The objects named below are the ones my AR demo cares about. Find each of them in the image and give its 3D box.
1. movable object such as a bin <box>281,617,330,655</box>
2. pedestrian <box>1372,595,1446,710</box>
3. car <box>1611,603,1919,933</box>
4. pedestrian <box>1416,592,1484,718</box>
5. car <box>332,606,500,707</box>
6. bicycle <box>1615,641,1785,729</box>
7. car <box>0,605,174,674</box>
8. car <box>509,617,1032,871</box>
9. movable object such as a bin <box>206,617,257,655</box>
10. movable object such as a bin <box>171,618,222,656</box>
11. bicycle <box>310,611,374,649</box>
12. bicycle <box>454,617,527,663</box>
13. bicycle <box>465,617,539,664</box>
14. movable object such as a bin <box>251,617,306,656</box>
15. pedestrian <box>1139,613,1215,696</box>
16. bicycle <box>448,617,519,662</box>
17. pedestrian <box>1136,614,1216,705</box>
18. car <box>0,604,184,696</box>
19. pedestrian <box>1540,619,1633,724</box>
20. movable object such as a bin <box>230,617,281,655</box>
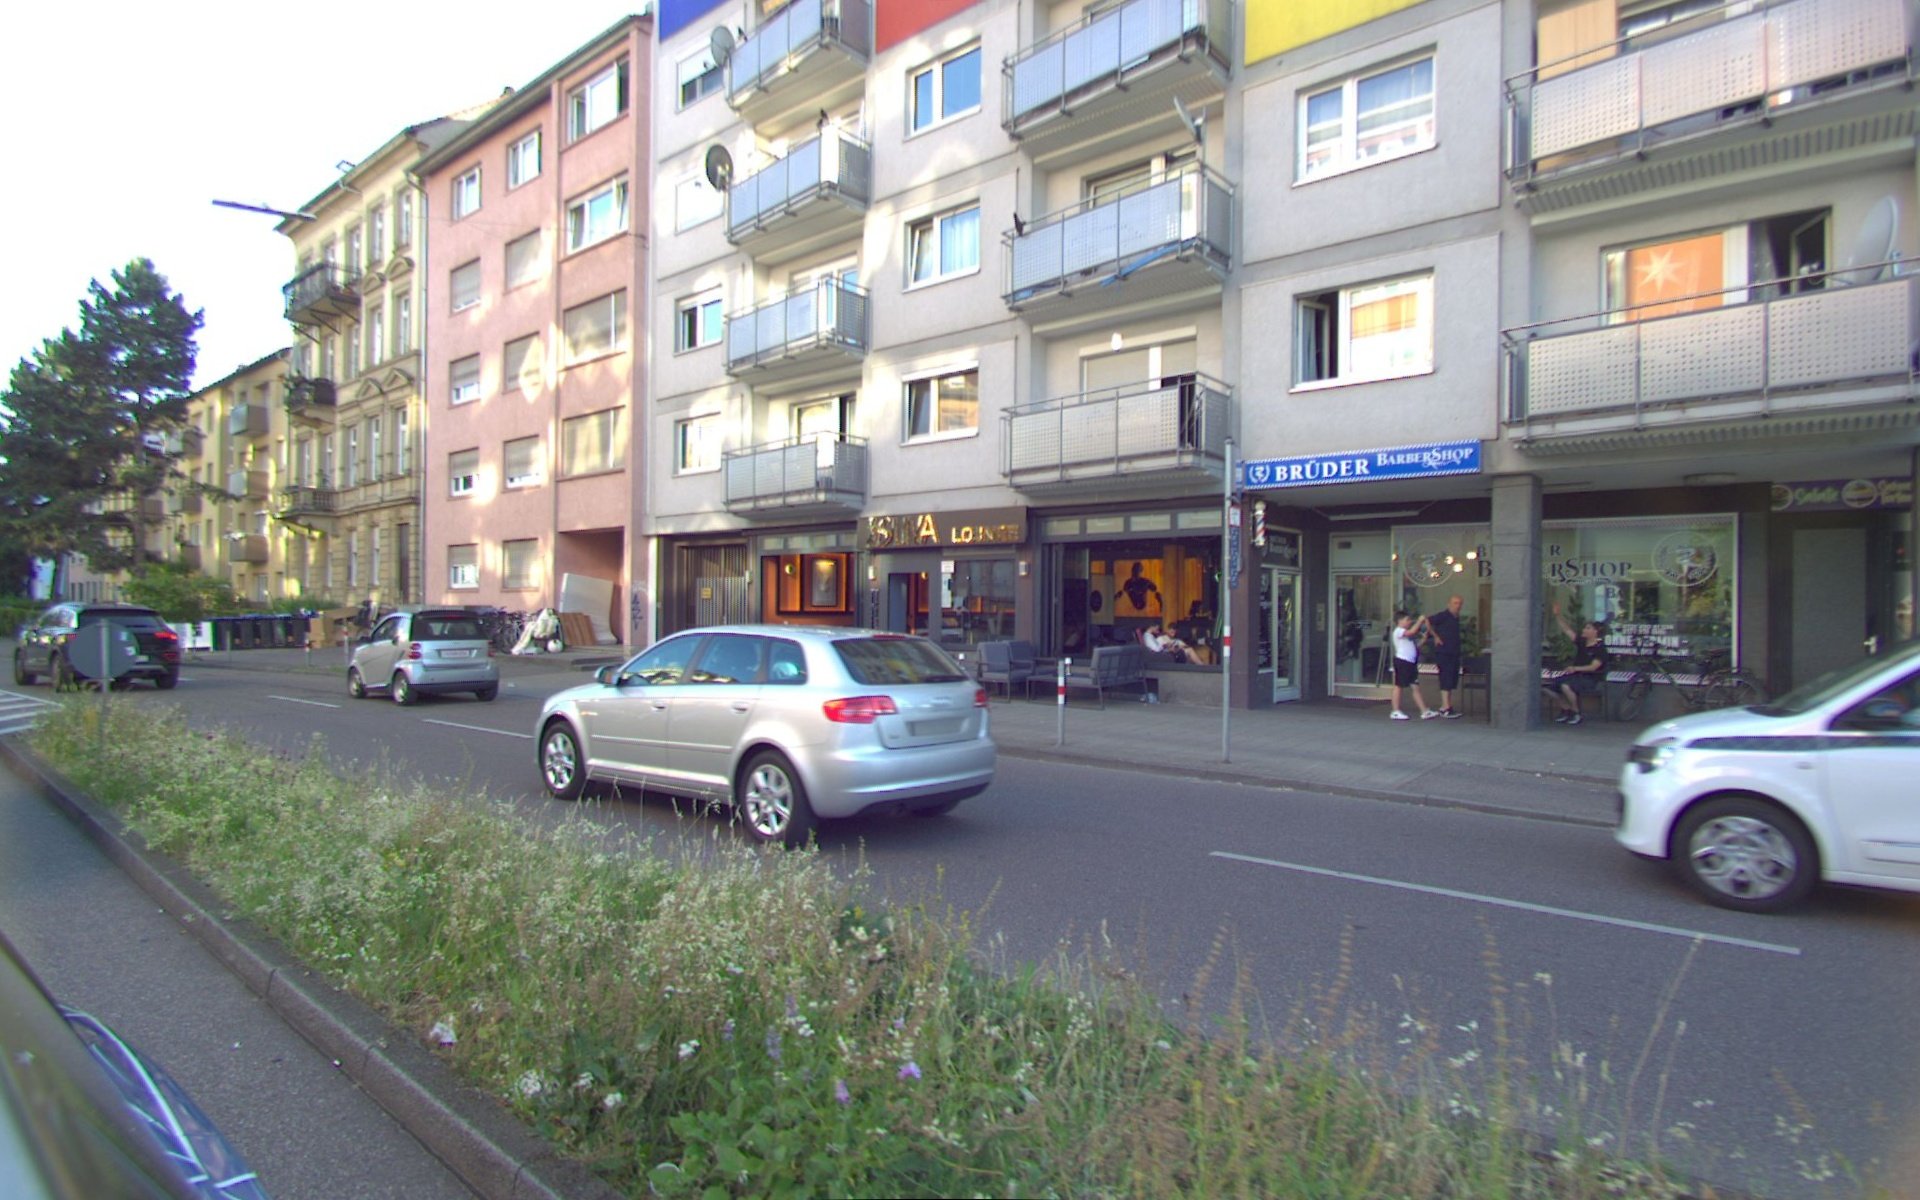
[{"bbox_3d":[-21.481,1.174,33.250,0.837,1.242,1.193,0,-1,1],"label":"movable object such as a bin"},{"bbox_3d":[5.956,0.686,13.442,0.648,1.478,0.627,0,-1,-13],"label":"pedestrian"},{"bbox_3d":[5.511,0.816,5.050,3.635,1.556,1.658,-1,-3,40],"label":"car"},{"bbox_3d":[6.696,0.736,13.858,0.650,1.685,0.625,0,-1,5],"label":"pedestrian"},{"bbox_3d":[-9.439,0.938,17.528,2.804,1.605,1.521,-1,-3,37],"label":"car"},{"bbox_3d":[9.376,1.054,12.907,1.692,1.006,0.620,0,-1,32],"label":"bicycle"},{"bbox_3d":[-22.050,0.966,25.384,4.070,1.641,1.714,0,-2,19],"label":"car"},{"bbox_3d":[-1.605,0.874,7.724,4.098,1.436,1.691,-1,-3,40],"label":"car"},{"bbox_3d":[-24.205,1.195,33.654,0.837,1.242,1.193,0,-1,1],"label":"movable object such as a bin"},{"bbox_3d":[-25.130,1.205,33.325,0.836,1.242,1.195,0,-1,-8],"label":"movable object such as a bin"},{"bbox_3d":[-20.530,0.983,33.632,0.473,1.200,1.758,-1,-1,38],"label":"bicycle"},{"bbox_3d":[-12.715,1.063,27.439,0.473,1.200,1.758,-1,-1,38],"label":"bicycle"},{"bbox_3d":[-12.174,1.054,26.944,0.473,1.200,1.758,-1,-1,38],"label":"bicycle"},{"bbox_3d":[-22.410,1.180,33.304,0.916,1.242,1.292,0,-1,1],"label":"movable object such as a bin"},{"bbox_3d":[3.701,0.894,17.225,0.974,1.356,0.871,-1,-1,41],"label":"pedestrian"},{"bbox_3d":[-13.102,1.063,27.878,0.473,1.200,1.758,-1,-1,38],"label":"bicycle"},{"bbox_3d":[3.394,0.906,15.913,0.882,1.356,0.961,-1,-1,41],"label":"pedestrian"},{"bbox_3d":[-16.420,0.907,19.072,4.092,1.556,1.661,-1,-3,35],"label":"car"},{"bbox_3d":[8.126,0.910,13.145,0.798,1.323,0.626,0,-1,-3],"label":"pedestrian"},{"bbox_3d":[-23.336,1.187,33.542,0.837,1.242,1.193,0,-1,1],"label":"movable object such as a bin"}]
